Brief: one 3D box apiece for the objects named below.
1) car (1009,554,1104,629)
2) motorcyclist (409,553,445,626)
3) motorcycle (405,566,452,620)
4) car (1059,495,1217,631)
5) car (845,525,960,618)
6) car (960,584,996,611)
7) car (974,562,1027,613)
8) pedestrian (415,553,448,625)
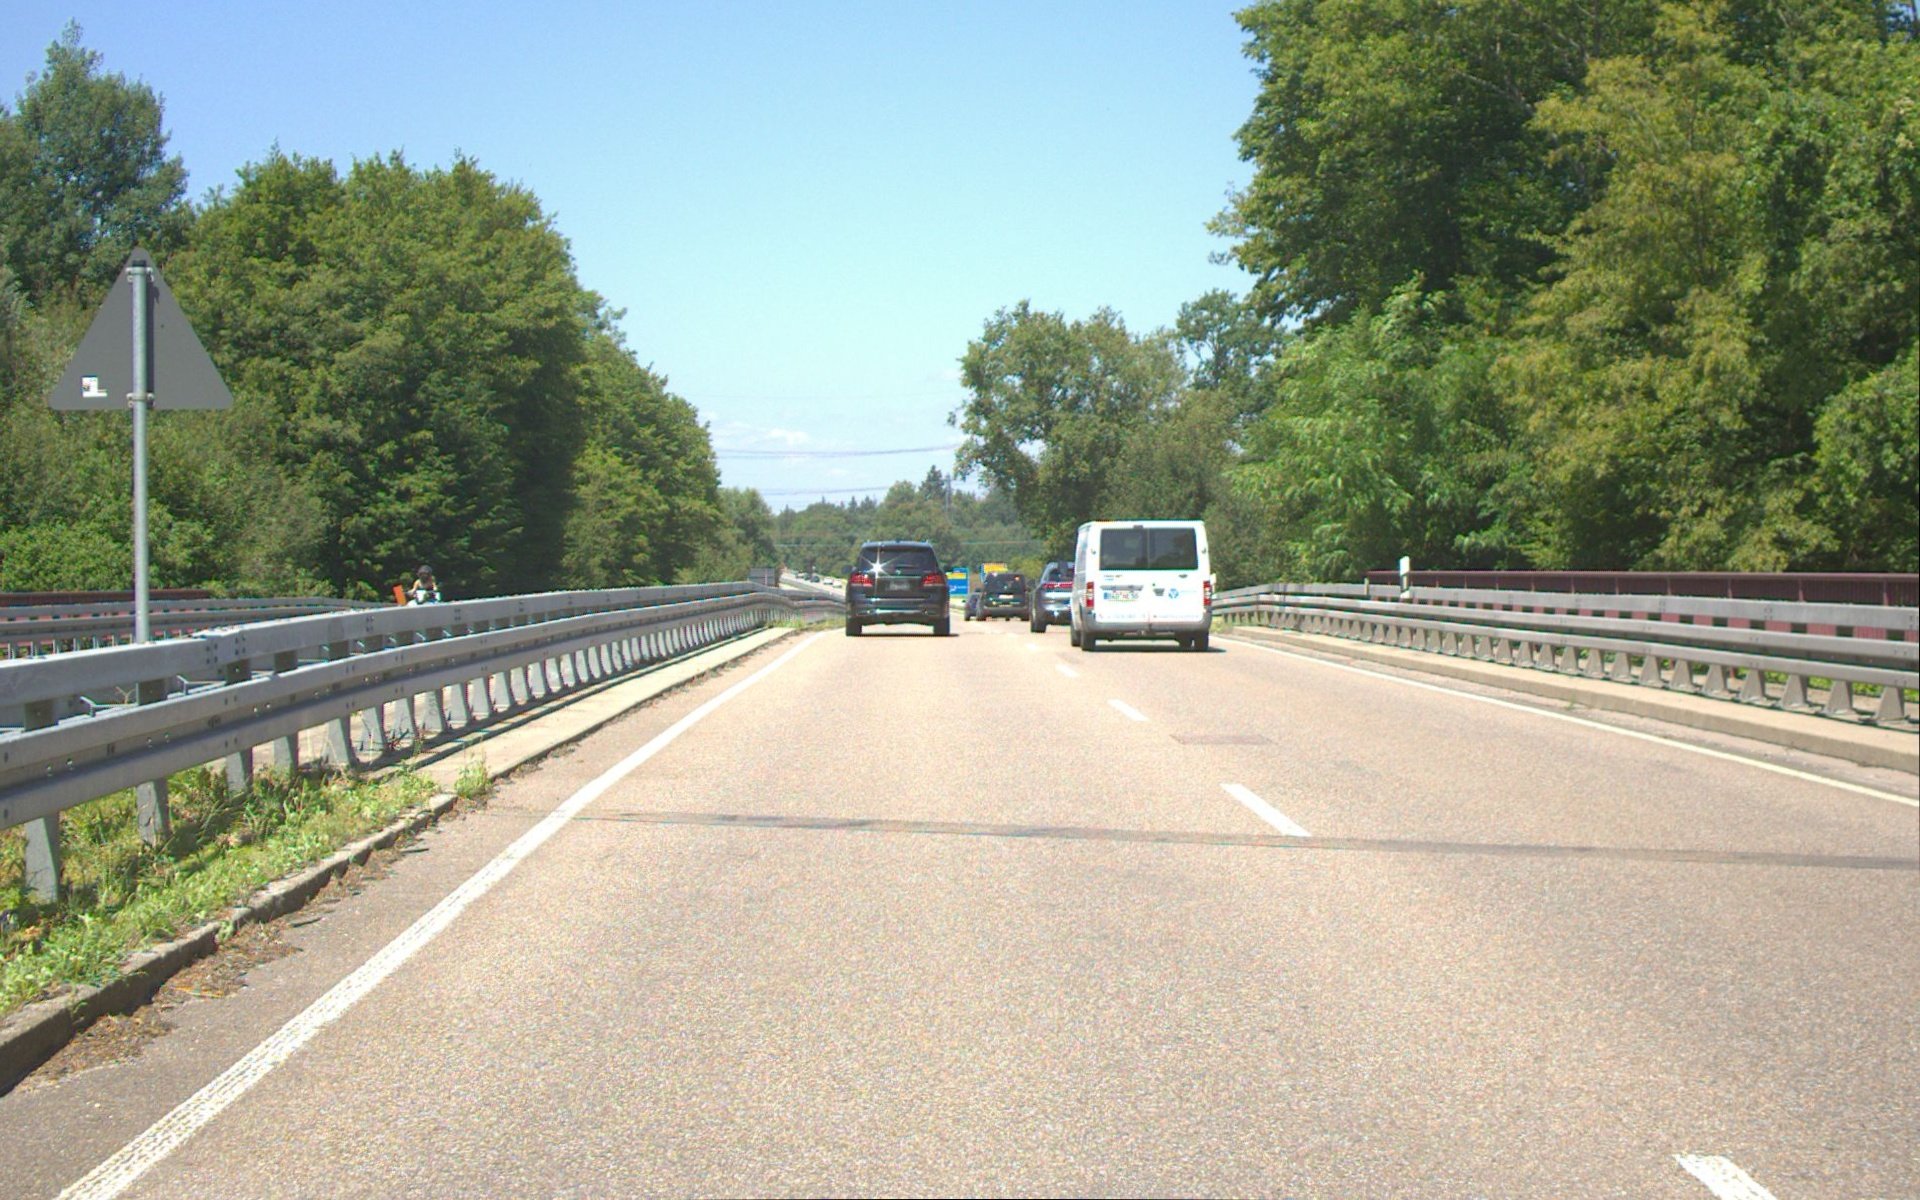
[{"bbox_3d":[2.070,-0.201,74.399,1.785,1.548,4.019,-1,1,-2],"label":"car"},{"bbox_3d":[-11.257,-0.229,72.614,0.615,1.535,0.777,-1,1,0],"label":"motorcyclist"},{"bbox_3d":[-11.280,-0.161,73.020,0.615,1.100,2.313,-1,1,0],"label":"motorcycle"},{"bbox_3d":[2.710,-0.532,53.519,2.005,1.982,5.034,-1,-1,-2],"label":"car"},{"bbox_3d":[-1.109,-0.552,64.119,1.993,1.649,4.001,-1,1,-2],"label":"car"},{"bbox_3d":[1.005,-0.141,193.853,1.819,1.409,4.000,-2,1,-1],"label":"car"},{"bbox_3d":[1.492,-0.467,126.963,1.780,1.810,4.213,-2,1,-1],"label":"car"},{"bbox_3d":[-11.261,-0.236,73.267,0.615,1.535,0.494,-1,1,0],"label":"pedestrian"}]
